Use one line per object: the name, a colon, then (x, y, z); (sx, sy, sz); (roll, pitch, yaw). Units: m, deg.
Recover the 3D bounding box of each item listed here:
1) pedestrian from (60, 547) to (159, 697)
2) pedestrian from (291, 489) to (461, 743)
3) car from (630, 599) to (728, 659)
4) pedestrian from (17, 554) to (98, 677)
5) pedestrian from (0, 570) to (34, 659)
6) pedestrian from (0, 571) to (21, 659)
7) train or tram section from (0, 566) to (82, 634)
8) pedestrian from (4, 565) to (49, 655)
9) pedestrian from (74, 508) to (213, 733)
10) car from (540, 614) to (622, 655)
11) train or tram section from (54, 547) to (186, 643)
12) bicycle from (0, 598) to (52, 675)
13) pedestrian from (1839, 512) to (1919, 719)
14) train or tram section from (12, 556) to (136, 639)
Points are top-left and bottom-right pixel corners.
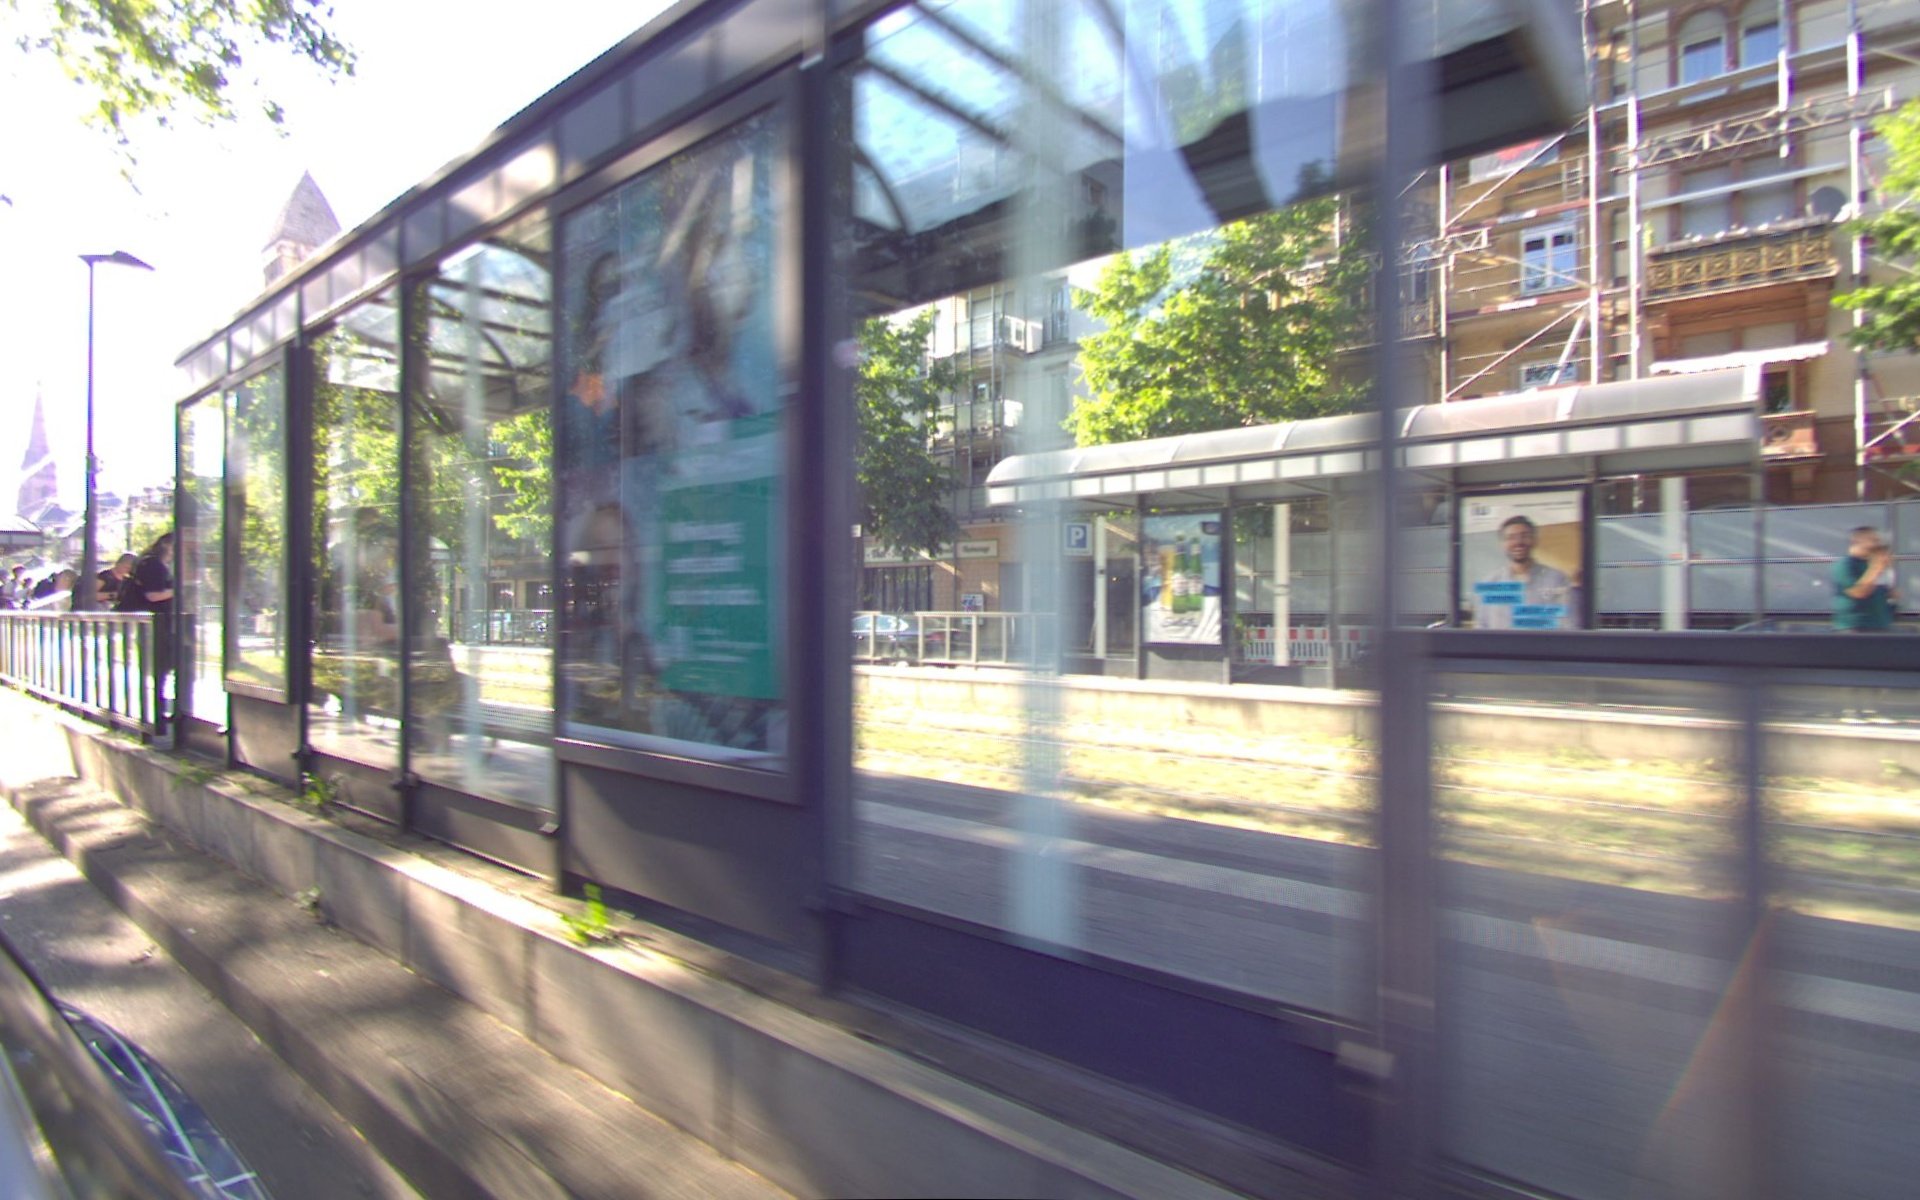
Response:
pedestrian: (-9.337, 0.227, 11.113); (0.851, 1.573, 0.671); (-1, 1, 41)
pedestrian: (-4.245, 0.108, 7.421); (0.624, 1.735, 0.908); (-1, 1, 7)
car: (-11.034, 1.093, 39.653); (3.783, 2.182, 1.920); (-1, 1, 41)
pedestrian: (-13.547, 0.220, 15.196); (0.773, 1.784, 0.777); (-1, 1, 41)
pedestrian: (-18.763, 0.283, 20.000); (0.599, 1.720, 0.543); (-1, 1, 38)
pedestrian: (-19.988, 0.313, 21.066); (0.592, 1.813, 0.825); (-2, 1, -44)
train or tram section: (-55.971, 0.088, 60.837); (14.554, 3.703, 2.839); (-1, -1, 41)
pedestrian: (-18.140, 0.184, 19.669); (0.729, 1.720, 0.501); (-1, 1, 38)
pedestrian: (-6.845, 0.158, 8.491); (0.694, 1.772, 0.757); (-1, 1, 40)
car: (-16.763, 1.480, 44.713); (3.783, 1.648, 1.788); (-1, 1, 41)
train or tram section: (-35.961, -0.141, 43.176); (9.680, 3.713, 2.839); (-1, -1, 41)
bicycle: (-15.007, 0.555, 15.977); (2.029, 1.142, 0.729); (-1, 1, 41)
pedestrian: (7.999, 0.120, 8.673); (0.654, 1.703, 0.672); (-1, 1, 39)
train or tram section: (-45.060, -0.043, 51.209); (14.554, 3.713, 2.839); (-1, -1, 41)
